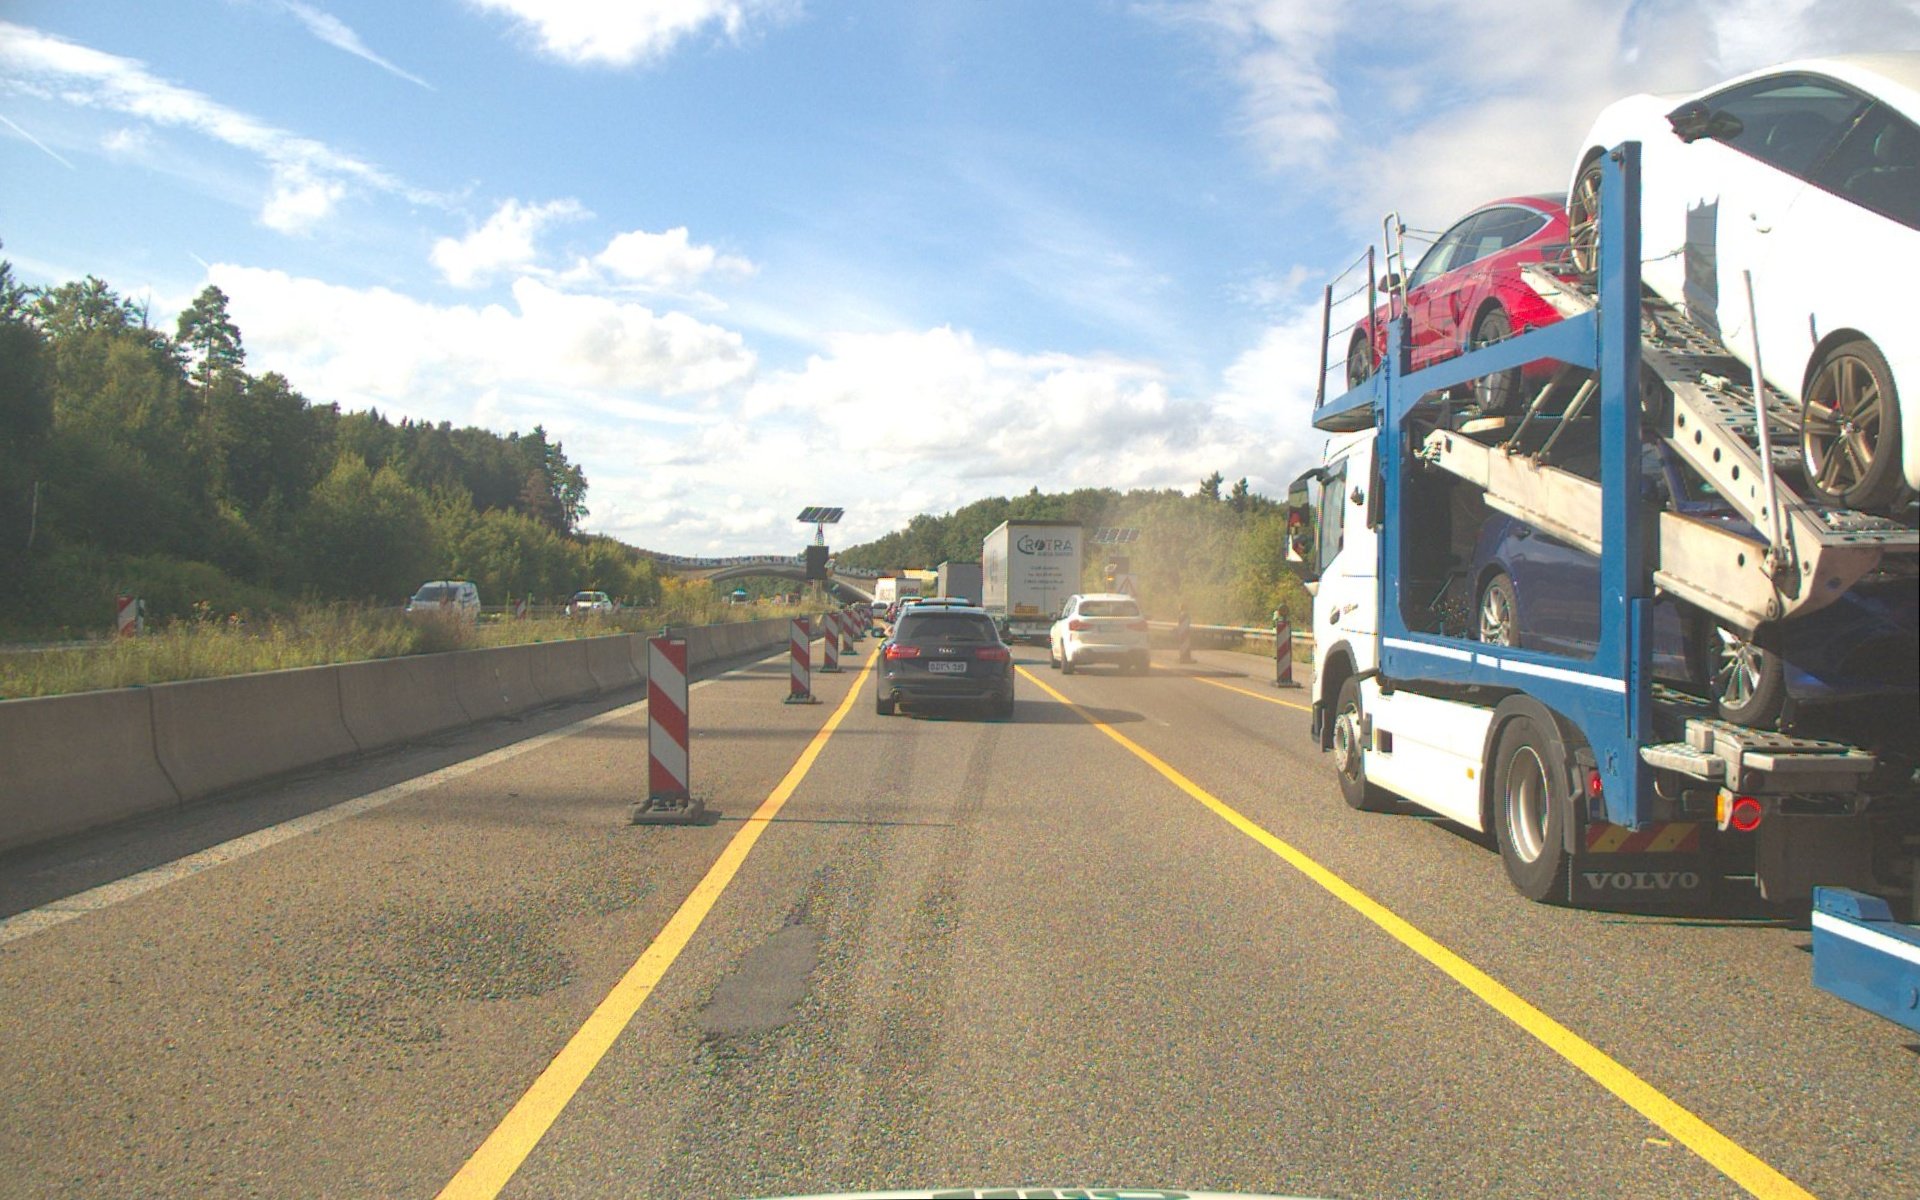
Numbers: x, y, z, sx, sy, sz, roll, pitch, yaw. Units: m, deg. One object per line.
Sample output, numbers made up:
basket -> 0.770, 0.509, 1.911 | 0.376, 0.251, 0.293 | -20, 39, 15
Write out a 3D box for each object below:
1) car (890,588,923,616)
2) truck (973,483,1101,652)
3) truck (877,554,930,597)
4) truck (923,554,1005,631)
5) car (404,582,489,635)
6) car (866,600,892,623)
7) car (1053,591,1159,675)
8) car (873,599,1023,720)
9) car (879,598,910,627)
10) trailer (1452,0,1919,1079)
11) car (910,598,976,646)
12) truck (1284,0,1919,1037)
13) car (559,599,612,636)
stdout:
car -> -3.325, 0.141, 102.244 | 1.853, 1.672, 4.014 | 1, 0, -5
truck -> 2.575, -0.997, 61.913 | 3.603, 5.447, 16.196 | 1, 0, -1
truck -> -5.717, -2.355, 165.543 | 3.589, 3.997, 11.037 | 1, 0, -11
truck -> 0.128, -0.416, 107.743 | 4.235, 4.681, 11.112 | 1, 0, -5
car -> -18.464, 0.322, 59.633 | 1.742, 1.817, 4.364 | 1, 0, -1
car -> -7.324, 1.041, 150.023 | 1.956, 2.049, 3.992 | 1, 0, -8
car -> 3.092, 0.686, 35.740 | 1.852, 1.672, 4.017 | 1, 0, -1
car -> -0.187, 0.760, 22.704 | 1.852, 1.472, 3.999 | 1, 0, -1
car -> -4.781, 0.909, 119.840 | 1.955, 2.049, 3.994 | 1, 0, -6
trailer -> 4.836, -0.667, 1.544 | 3.650, 4.270, 16.223 | 1, 0, -1
car -> -0.590, 0.708, 54.117 | 1.853, 1.472, 3.996 | 1, 0, -5
truck -> 4.621, -0.570, 9.758 | 3.685, 4.270, 7.949 | 1, 0, -1
car -> -19.302, 0.901, 85.433 | 1.742, 1.817, 4.364 | 1, 0, -1
